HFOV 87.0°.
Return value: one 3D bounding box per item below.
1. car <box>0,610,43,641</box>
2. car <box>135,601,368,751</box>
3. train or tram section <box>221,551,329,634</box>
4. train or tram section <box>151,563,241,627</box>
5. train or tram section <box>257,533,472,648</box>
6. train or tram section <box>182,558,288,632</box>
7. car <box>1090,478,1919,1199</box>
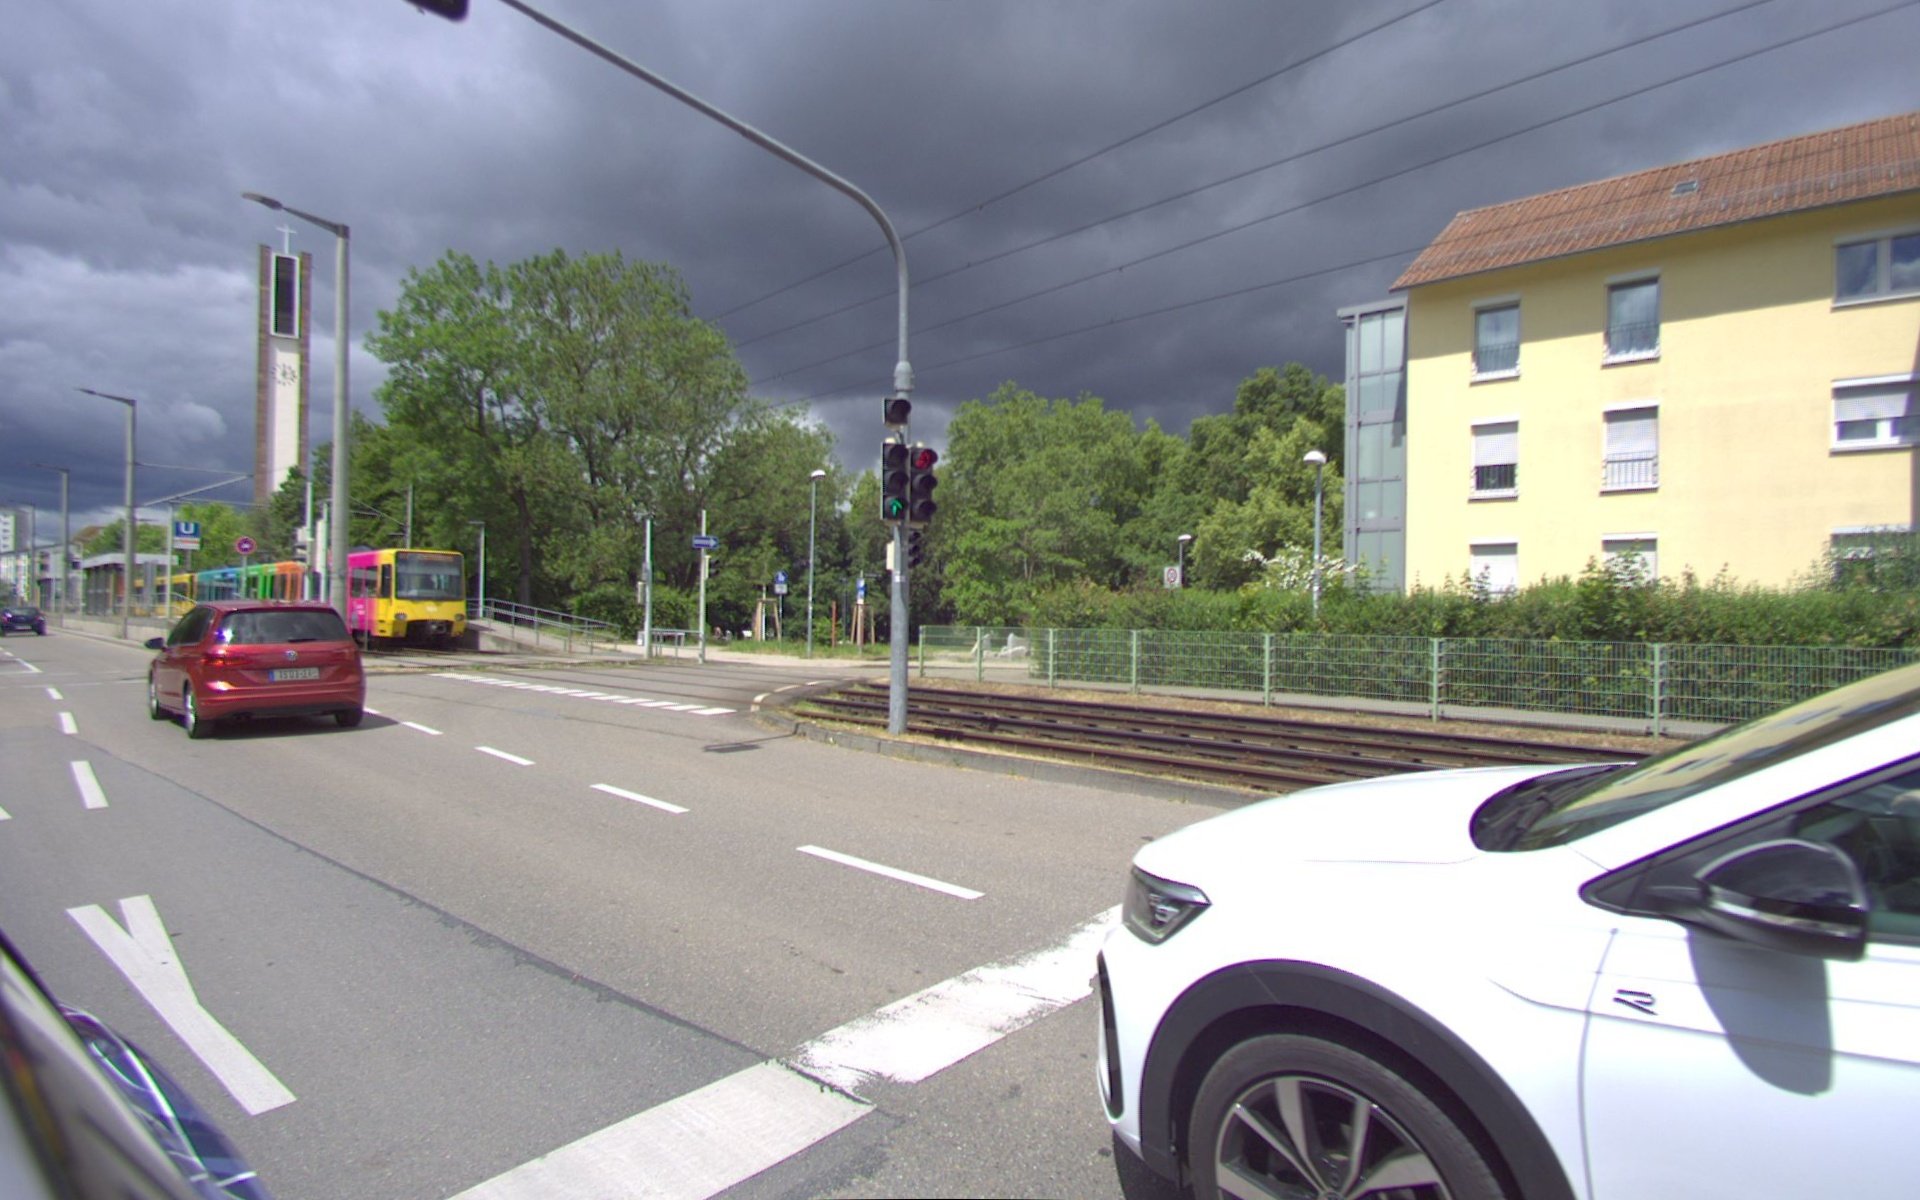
[{"bbox_3d":[-46.192,1.217,49.528,4.010,1.452,1.698,0,0,44],"label":"car"},{"bbox_3d":[-8.998,0.812,12.728,4.001,1.563,1.645,0,0,44],"label":"car"},{"bbox_3d":[-34.805,-0.373,51.277,8.381,3.892,2.947,0,0,44],"label":"train or tram section"},{"bbox_3d":[-50.537,-0.325,66.738,12.206,3.892,2.947,0,0,45],"label":"train or tram section"},{"bbox_3d":[-25.181,-0.346,41.822,18.545,3.892,2.947,0,0,45],"label":"train or tram section"},{"bbox_3d":[-41.972,-0.301,58.366,11.791,3.892,2.947,0,0,45],"label":"train or tram section"},{"bbox_3d":[2.336,0.627,1.492,3.999,1.564,1.741,0,0,42],"label":"car"}]
